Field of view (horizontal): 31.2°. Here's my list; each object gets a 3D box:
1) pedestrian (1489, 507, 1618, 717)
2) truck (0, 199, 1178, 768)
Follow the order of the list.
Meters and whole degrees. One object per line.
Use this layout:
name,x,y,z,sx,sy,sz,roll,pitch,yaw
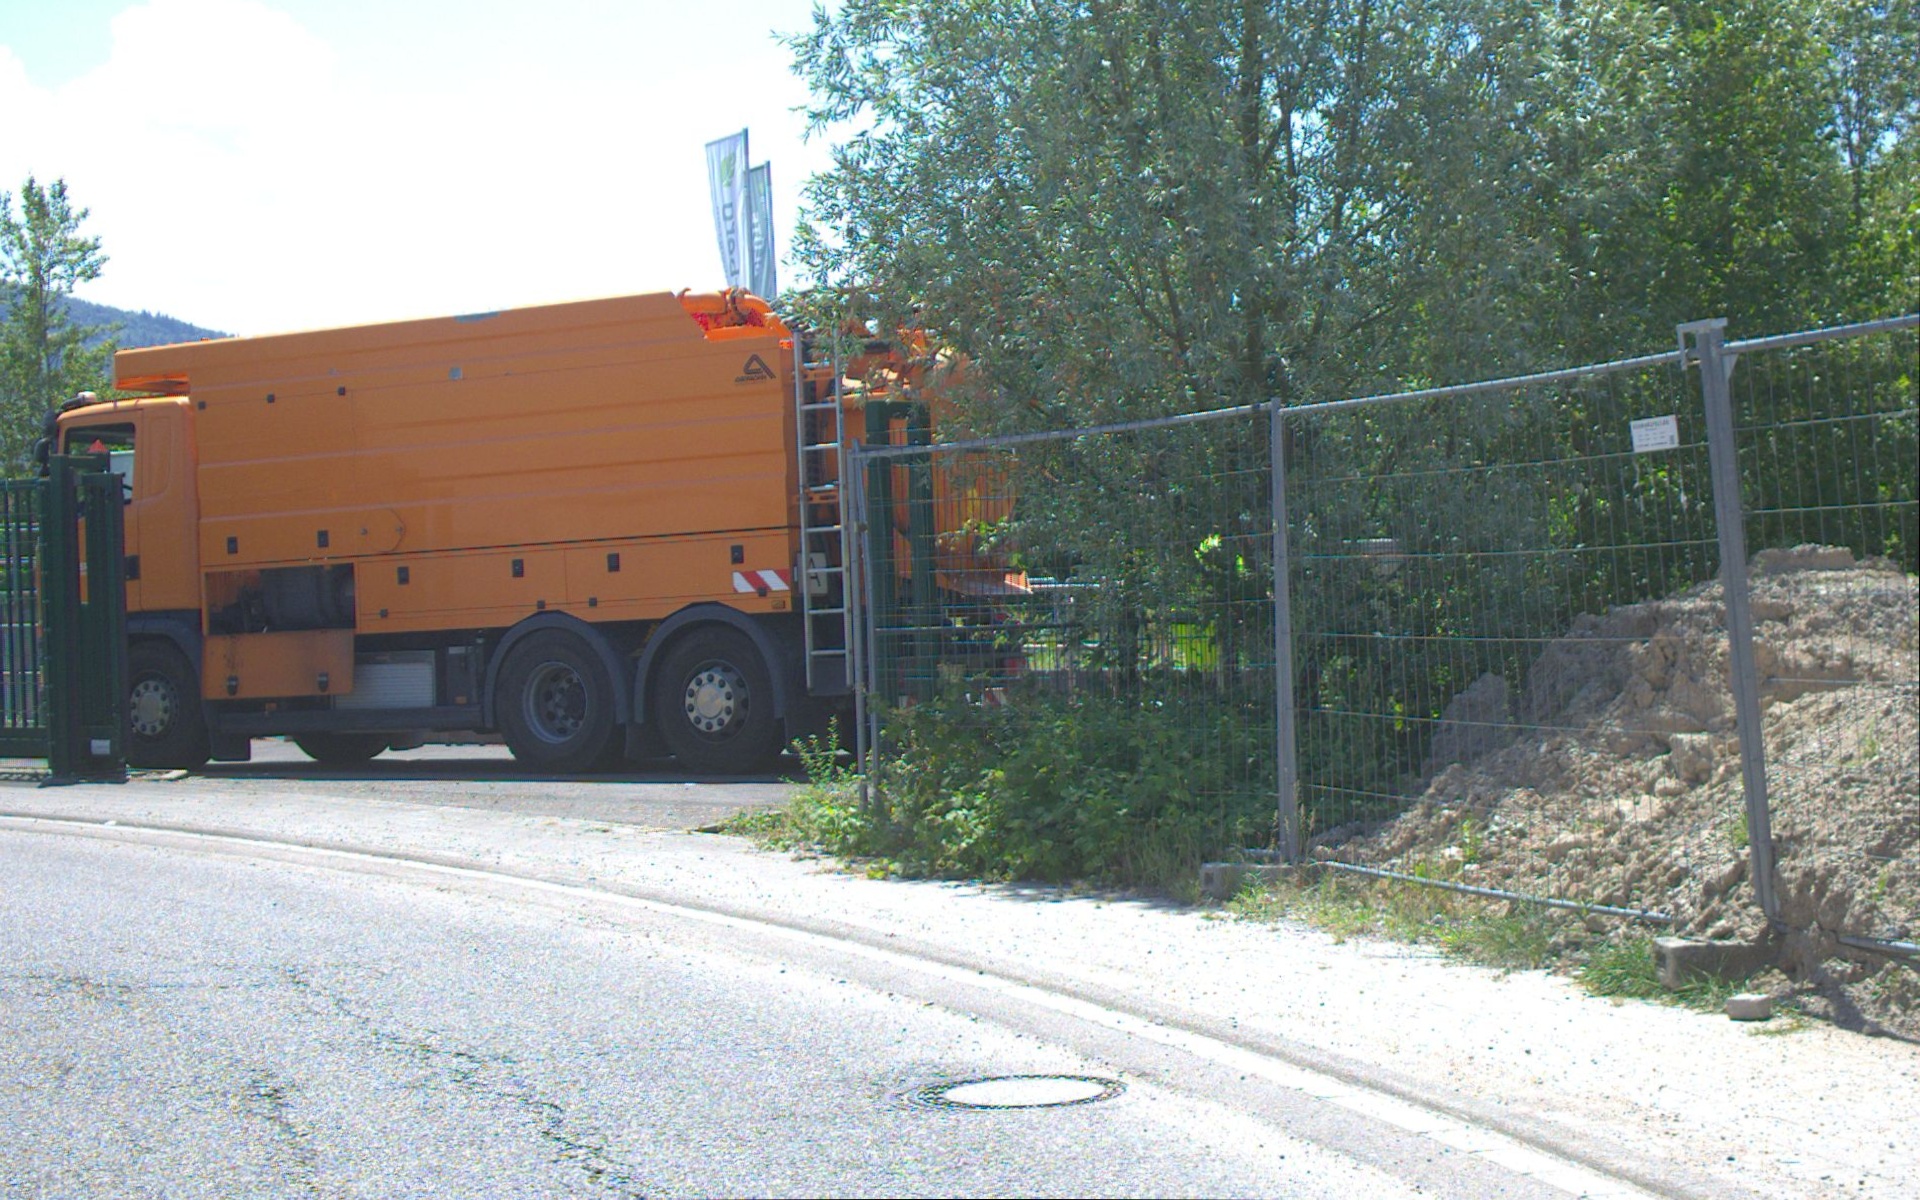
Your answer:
pedestrian,5.255,0.099,30.411,0.878,1.818,0.738,0,1,33
truck,-3.126,-0.734,26.928,8.598,3.793,4.157,-2,1,31
